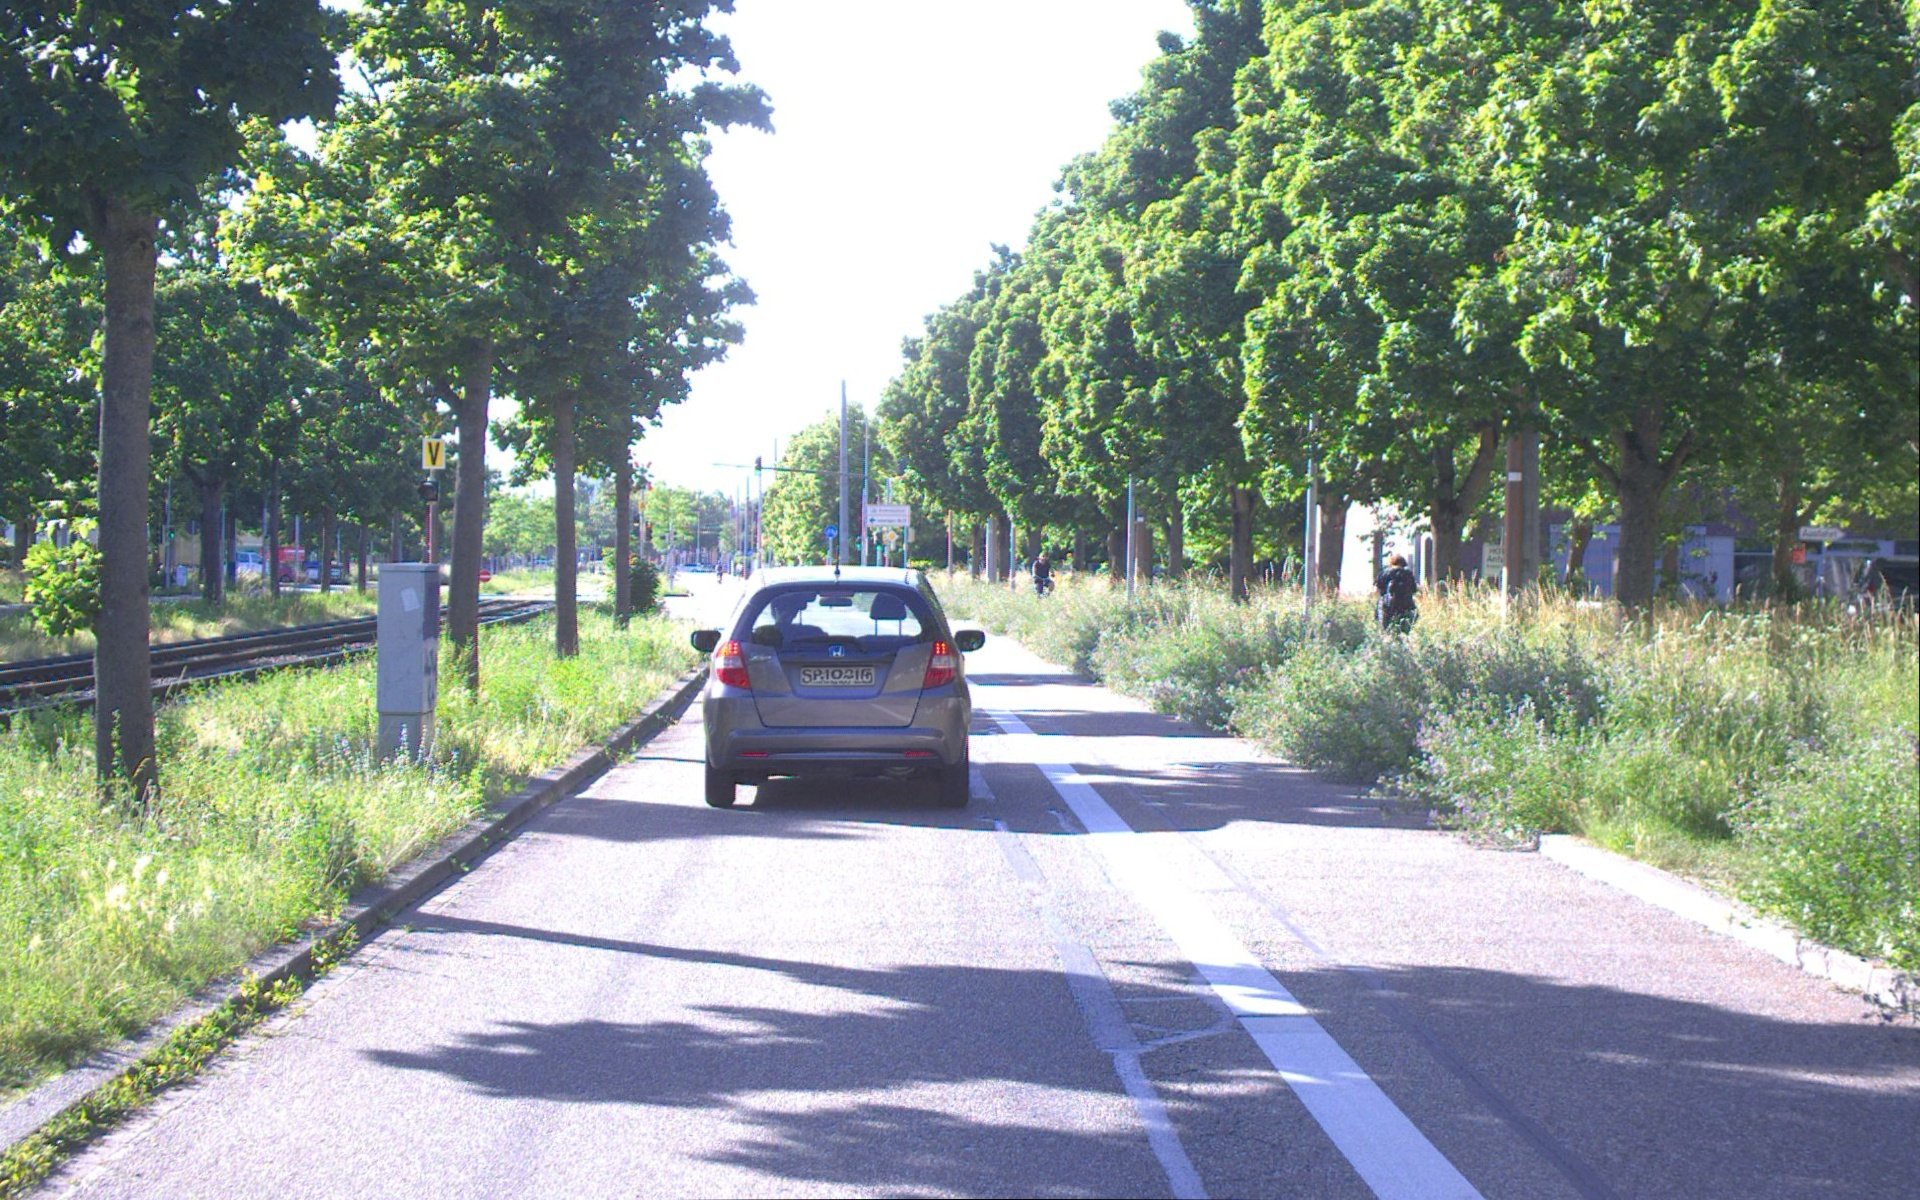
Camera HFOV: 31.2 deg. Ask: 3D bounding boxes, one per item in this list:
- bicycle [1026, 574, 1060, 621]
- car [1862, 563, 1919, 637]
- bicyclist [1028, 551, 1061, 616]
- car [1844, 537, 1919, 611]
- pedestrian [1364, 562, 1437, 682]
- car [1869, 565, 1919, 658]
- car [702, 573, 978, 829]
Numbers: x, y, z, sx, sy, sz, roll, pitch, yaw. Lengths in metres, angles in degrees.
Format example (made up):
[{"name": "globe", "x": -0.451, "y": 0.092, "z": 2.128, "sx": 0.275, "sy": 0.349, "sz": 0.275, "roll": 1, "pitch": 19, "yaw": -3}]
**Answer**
[{"name": "bicycle", "x": 2.218, "y": -0.058, "z": 91.770, "sx": 0.482, "sy": 1.200, "sz": 2.144, "roll": 1, "pitch": -1, "yaw": -10}, {"name": "car", "x": 20.525, "y": 0.015, "z": 69.099, "sx": 4.356, "sy": 1.454, "sz": 1.689, "roll": 1, "pitch": 1, "yaw": 1}, {"name": "bicyclist", "x": 2.250, "y": -0.433, "z": 91.605, "sx": 0.683, "sy": 1.714, "sz": 0.903, "roll": 1, "pitch": 0, "yaw": -9}, {"name": "car", "x": 20.578, "y": -0.522, "z": 71.270, "sx": 4.029, "sy": 1.500, "sz": 1.738, "roll": 1, "pitch": 1, "yaw": -1}, {"name": "pedestrian", "x": 5.869, "y": 0.286, "z": 45.801, "sx": 0.824, "sy": 1.563, "sz": 0.762, "roll": 1, "pitch": 0, "yaw": -1}, {"name": "car", "x": 17.579, "y": 0.204, "z": 57.948, "sx": 3.993, "sy": 1.520, "sz": 1.707, "roll": 1, "pitch": 1, "yaw": -5}, {"name": "car", "x": -0.793, "y": 0.581, "z": 21.994, "sx": 1.624, "sy": 1.494, "sz": 3.457, "roll": 0, "pitch": 1, "yaw": -3}]
